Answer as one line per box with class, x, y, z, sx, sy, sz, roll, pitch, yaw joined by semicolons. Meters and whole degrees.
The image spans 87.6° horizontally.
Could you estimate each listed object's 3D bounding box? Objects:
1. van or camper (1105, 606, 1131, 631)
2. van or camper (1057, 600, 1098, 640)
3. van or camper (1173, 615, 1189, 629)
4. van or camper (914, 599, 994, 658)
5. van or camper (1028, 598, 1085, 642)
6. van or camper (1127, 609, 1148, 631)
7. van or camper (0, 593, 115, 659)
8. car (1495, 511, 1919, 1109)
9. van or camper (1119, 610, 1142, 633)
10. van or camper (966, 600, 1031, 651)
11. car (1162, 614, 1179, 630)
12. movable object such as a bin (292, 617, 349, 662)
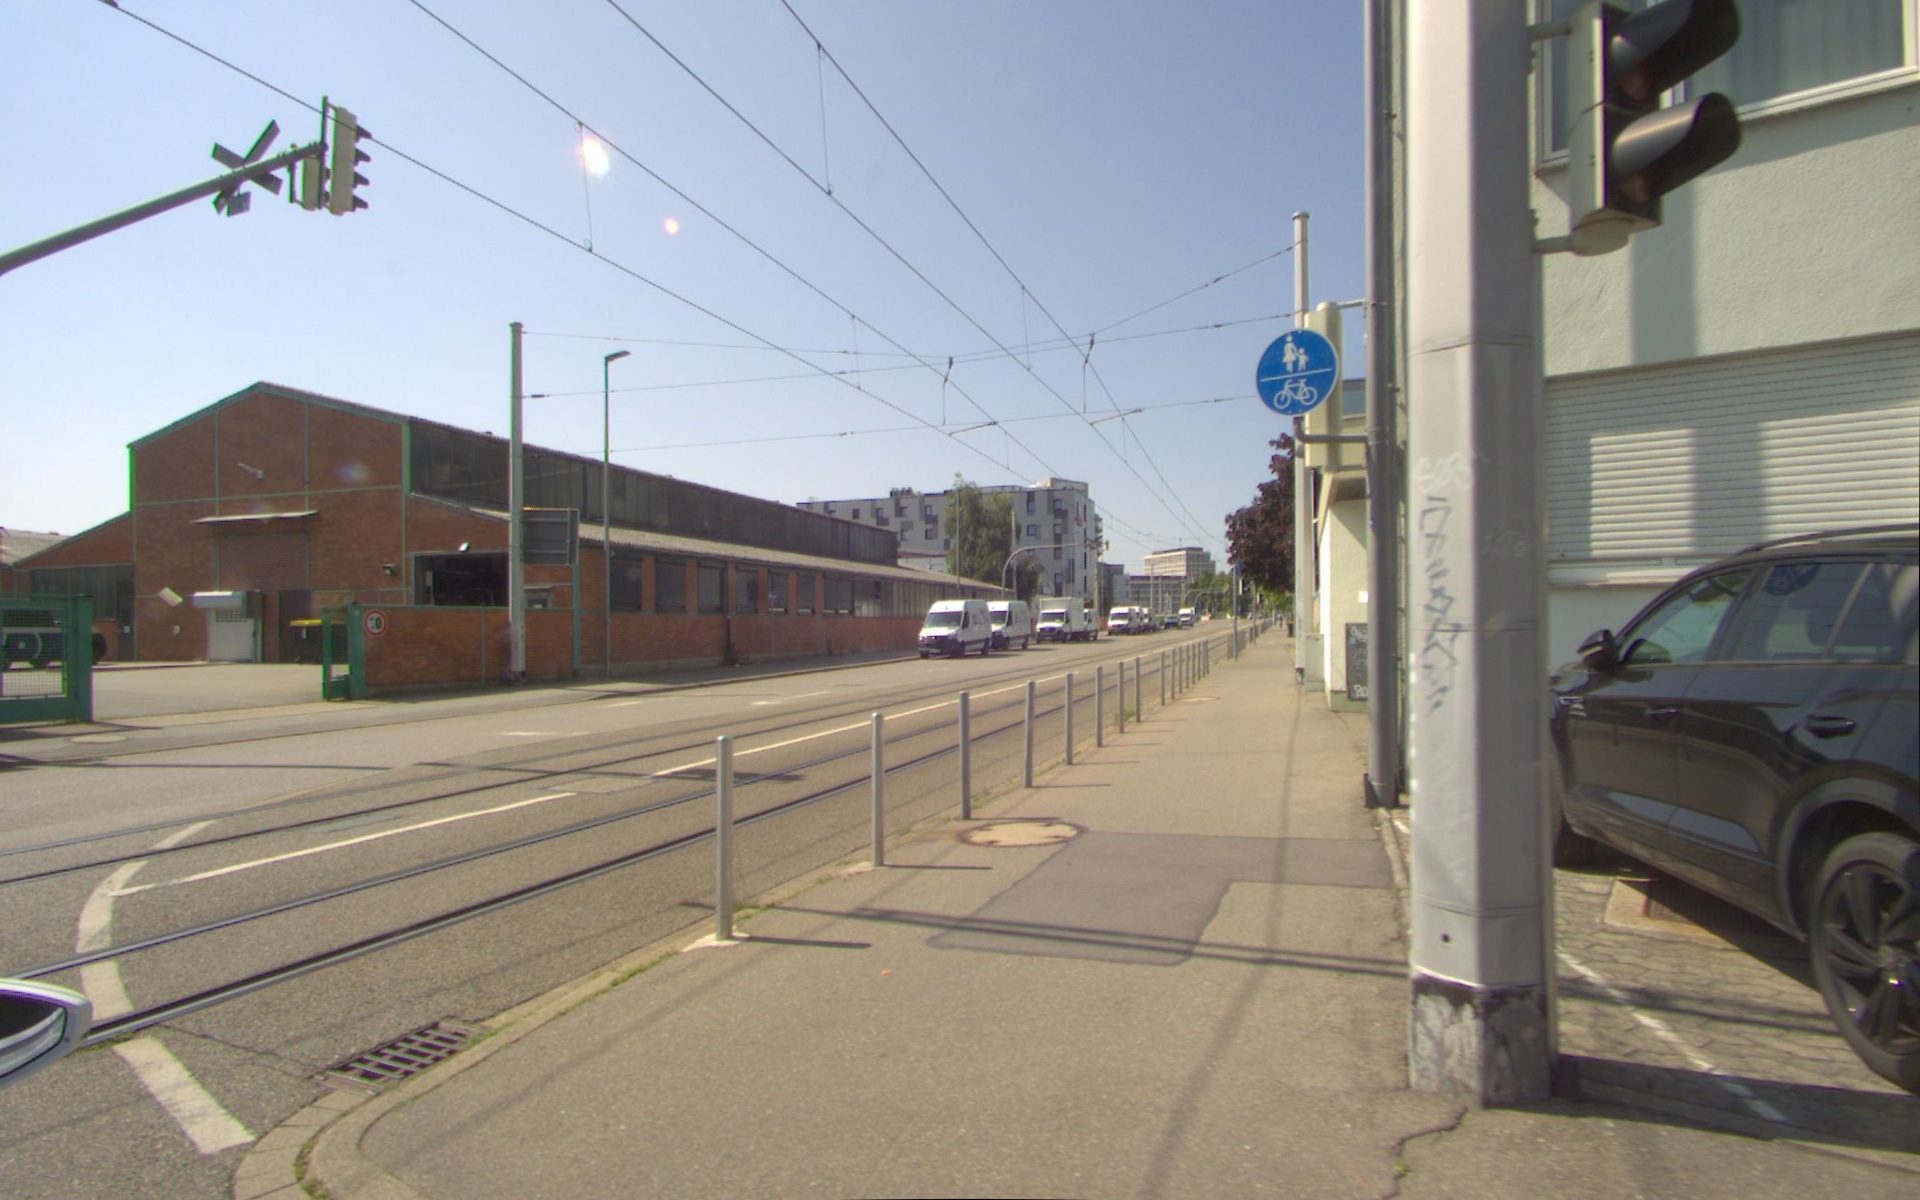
van or camper;14.542;1.706;91.960;1.922;2.240;4.903;-1;-1;15
van or camper;8.746;1.475;74.132;2.138;2.822;4.725;-1;-1;17
van or camper;32.853;3.193;148.804;1.965;2.040;3.993;-1;-1;20
van or camper;-0.178;1.292;46.382;2.008;2.567;5.860;-1;-1;18
van or camper;6.599;1.341;67.631;2.479;2.822;7.106;-1;-1;17
van or camper;18.462;2.057;104.279;1.793;2.240;4.256;-1;-1;15
van or camper;-28.771;0.851;30.646;1.961;1.923;4.426;0;-3;0
car;3.631;0.556;3.681;1.845;1.540;3.972;-1;-1;11
van or camper;16.791;2.114;98.344;1.793;2.240;4.421;-1;-1;15
van or camper;2.130;1.349;53.467;2.008;2.567;5.574;-1;-1;18
car;28.427;2.959;135.029;1.794;2.040;3.829;-1;-1;18
movable object such as a bin;-19.576;1.200;30.674;1.132;1.331;0.975;-1;0;19
